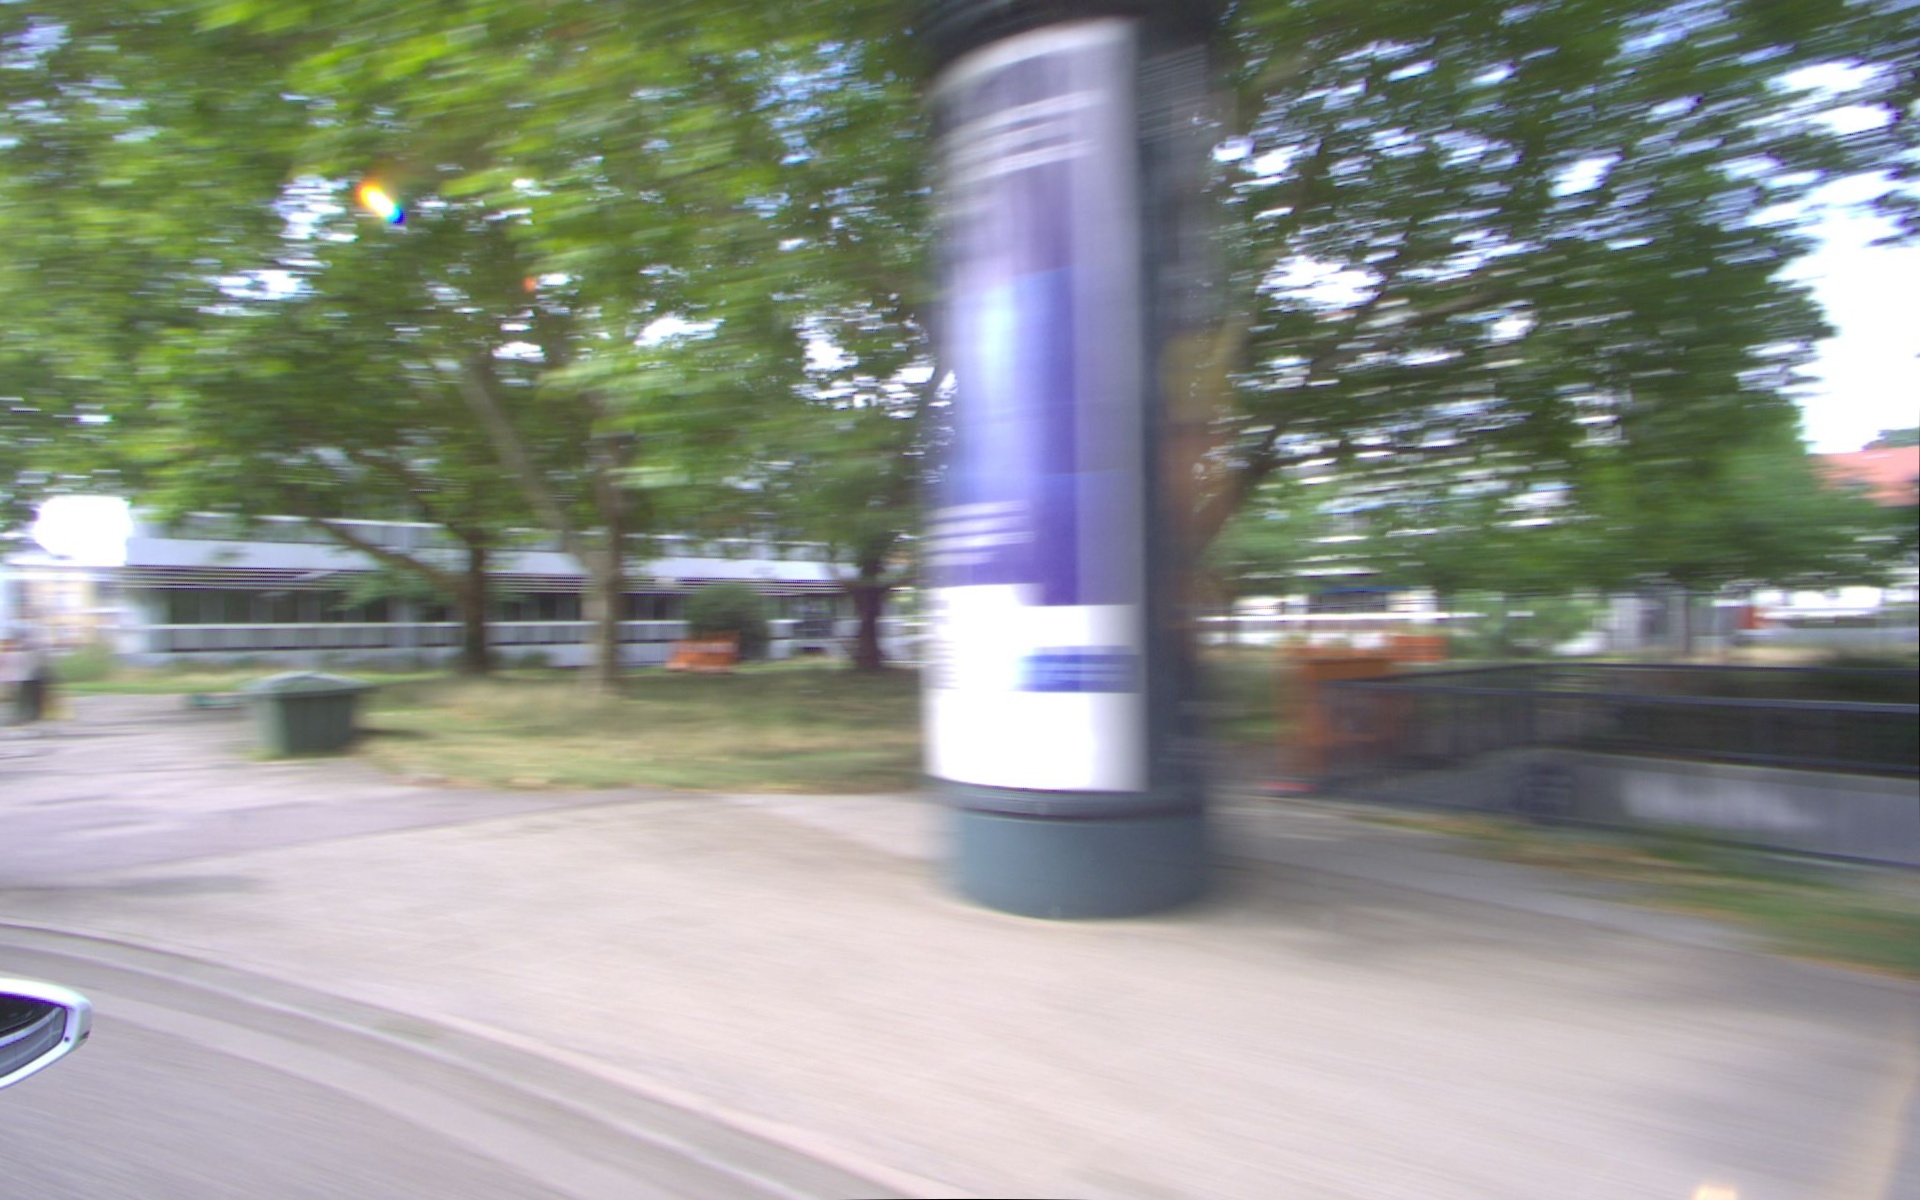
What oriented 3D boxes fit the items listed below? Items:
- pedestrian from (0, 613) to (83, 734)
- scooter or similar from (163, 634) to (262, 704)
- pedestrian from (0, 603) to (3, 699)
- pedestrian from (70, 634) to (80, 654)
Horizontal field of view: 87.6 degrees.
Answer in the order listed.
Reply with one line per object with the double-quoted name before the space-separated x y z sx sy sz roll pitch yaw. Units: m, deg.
"pedestrian" -13.131 1.027 14.230 0.888 1.662 0.846 2 -2 -37
"scooter or similar" -14.402 1.319 19.313 1.440 1.285 0.565 3 -2 -43
"pedestrian" -13.905 0.900 13.663 0.950 1.763 1.248 2 -2 -32
"pedestrian" -75.604 3.758 85.560 0.624 1.646 0.458 0 -2 38
